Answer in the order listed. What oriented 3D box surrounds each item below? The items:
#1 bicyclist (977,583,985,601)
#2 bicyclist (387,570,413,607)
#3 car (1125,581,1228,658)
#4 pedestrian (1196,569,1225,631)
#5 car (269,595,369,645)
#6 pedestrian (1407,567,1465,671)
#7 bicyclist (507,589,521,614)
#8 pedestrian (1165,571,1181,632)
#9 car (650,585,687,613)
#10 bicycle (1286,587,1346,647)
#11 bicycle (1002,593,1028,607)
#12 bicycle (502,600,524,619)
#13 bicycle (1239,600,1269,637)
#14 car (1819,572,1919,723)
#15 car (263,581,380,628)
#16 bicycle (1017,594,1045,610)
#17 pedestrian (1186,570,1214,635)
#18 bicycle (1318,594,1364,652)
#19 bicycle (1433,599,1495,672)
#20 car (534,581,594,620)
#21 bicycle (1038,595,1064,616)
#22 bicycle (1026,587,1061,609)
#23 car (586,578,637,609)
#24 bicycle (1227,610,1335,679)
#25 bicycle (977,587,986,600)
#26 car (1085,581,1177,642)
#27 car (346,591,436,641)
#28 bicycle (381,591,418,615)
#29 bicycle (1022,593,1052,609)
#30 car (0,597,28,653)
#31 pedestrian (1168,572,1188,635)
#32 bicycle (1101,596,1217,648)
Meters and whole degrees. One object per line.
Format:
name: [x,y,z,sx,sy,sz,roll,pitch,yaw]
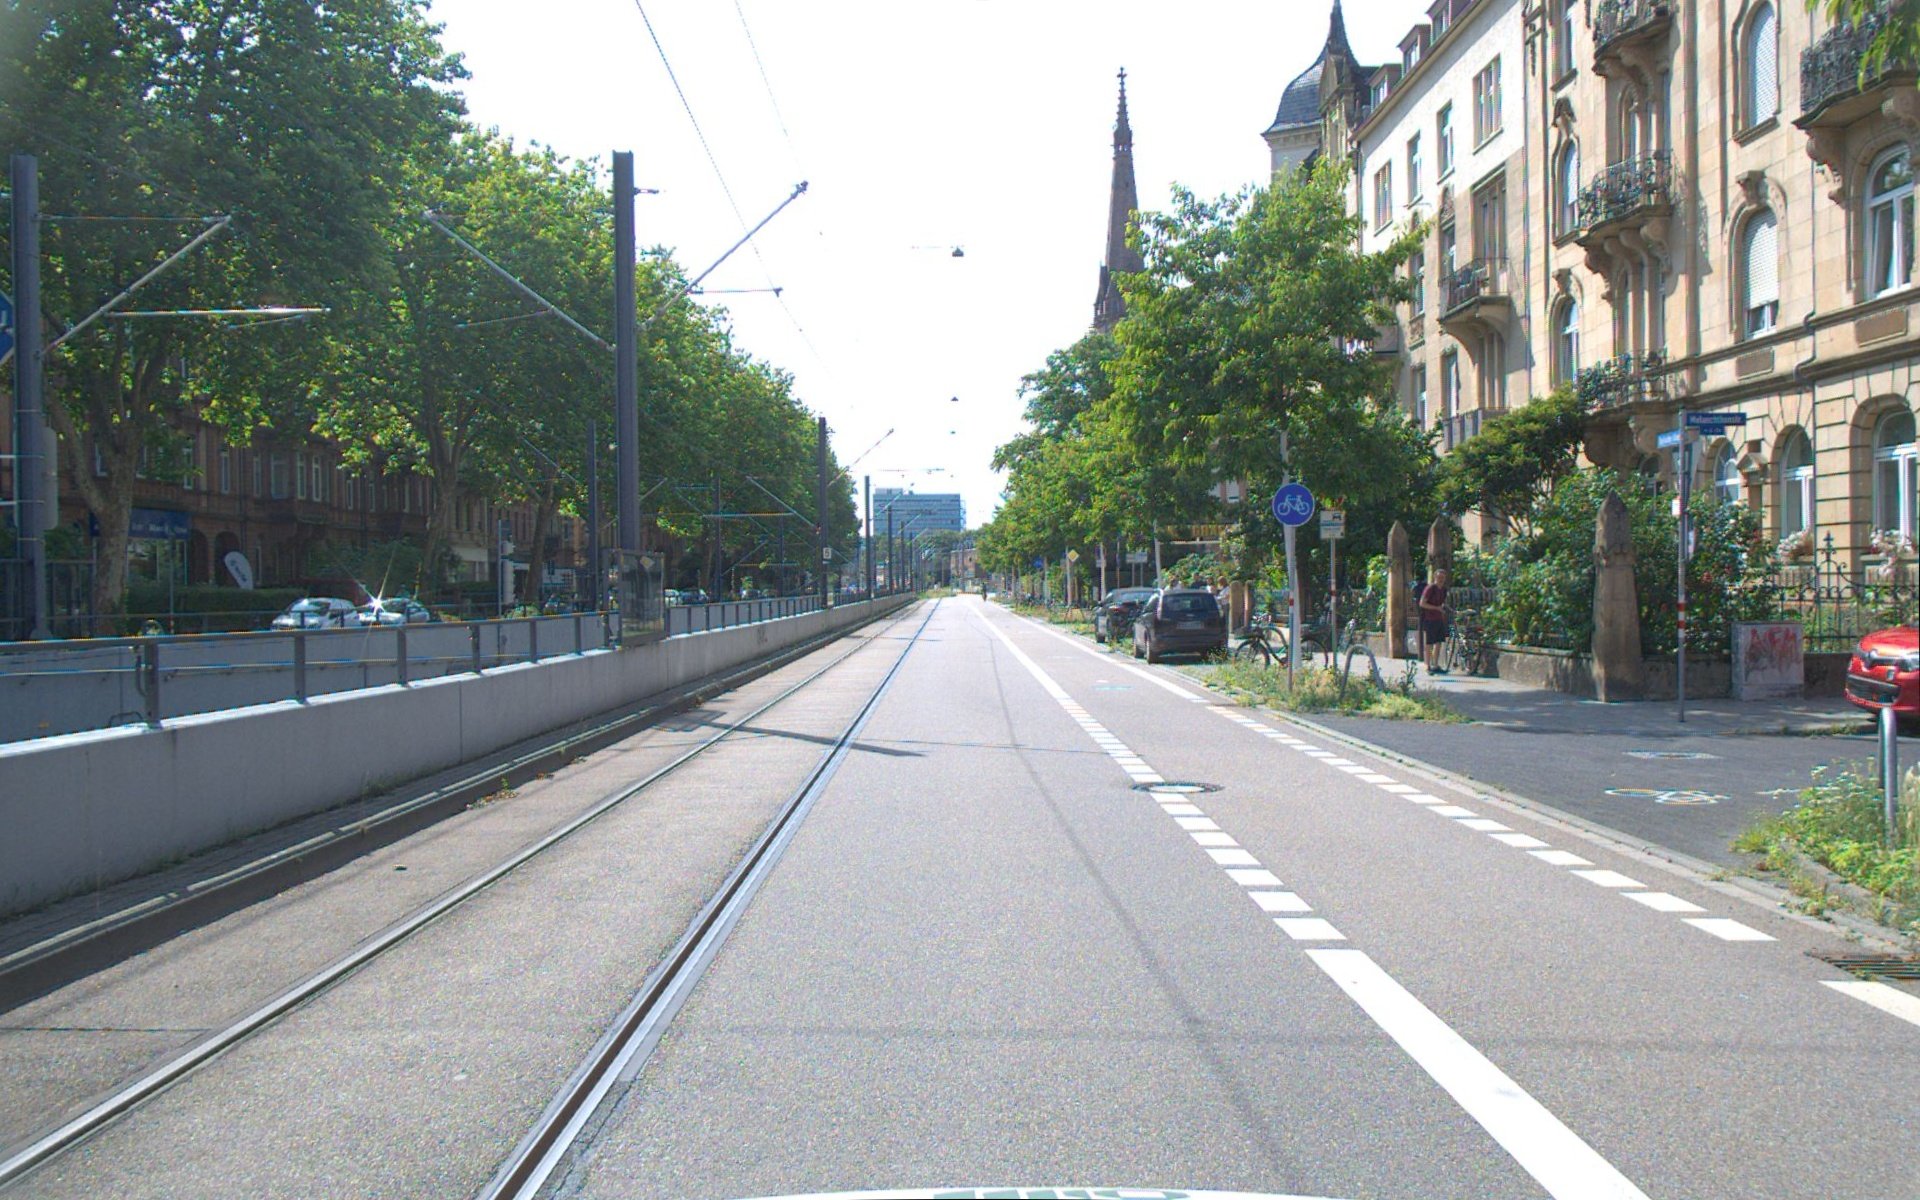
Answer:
bicyclist: [2.042,-0.770,158.760,0.755,1.760,1.026,-1,0,0]
bicyclist: [-22.549,-0.463,66.555,0.674,1.481,1.044,-1,0,0]
car: [4.685,0.375,36.349,1.651,1.528,4.708,-1,1,0]
pedestrian: [7.080,0.003,46.684,0.520,1.705,0.571,-3,1,-19]
car: [-19.191,0.564,49.624,1.466,1.326,3.492,-3,1,2]
pedestrian: [7.741,0.303,26.937,0.708,1.657,0.725,-1,0,0]
bicyclist: [-22.756,0.062,84.340,0.524,1.253,0.723,-1,0,0]
pedestrian: [6.199,0.032,48.102,0.311,1.736,0.461,-3,0,13]
car: [-20.180,-0.068,114.695,1.801,1.758,4.000,-3,1,0]
bicycle: [8.077,0.368,37.635,0.644,1.270,2.943,-4,0,0]
bicycle: [4.024,0.028,121.308,1.780,0.918,0.603,-3,1,-4]
bicycle: [-22.758,0.459,84.291,0.524,0.929,2.149,-1,0,0]
bicycle: [7.958,0.497,44.766,0.419,0.956,1.807,-4,0,0]
car: [11.818,0.448,18.319,3.664,1.583,1.757,-2,0,3]
car: [-27.771,0.188,72.052,4.313,1.952,1.999,-1,0,-2]
bicycle: [4.708,0.124,110.070,1.780,0.918,0.603,-3,1,-4]
pedestrian: [7.013,0.068,48.371,0.656,1.836,0.319,-3,0,-2]
bicycle: [7.996,0.472,34.778,0.419,1.159,2.023,-4,0,0]
bicycle: [8.150,0.558,26.799,0.460,1.127,1.711,-1,0,0]
car: [-19.545,-0.002,81.746,1.682,1.720,3.733,-3,1,6]
bicycle: [4.800,0.290,87.319,0.640,1.057,1.810,-3,1,-21]
bicycle: [4.665,-0.112,92.490,1.784,1.165,0.650,-3,1,-12]
car: [-20.302,-0.416,96.503,1.952,1.665,4.001,-3,1,2]
bicycle: [5.289,0.721,27.270,1.673,1.088,0.470,-1,0,-6]
bicycle: [2.050,-0.644,158.735,0.782,1.258,2.778,-1,0,0]
car: [4.739,0.284,46.368,1.763,1.553,4.486,-3,1,-4]
car: [-19.243,0.514,56.105,1.610,1.508,4.001,-3,1,-1]
bicycle: [-22.541,0.128,66.528,0.657,0.929,2.368,-1,0,0]
bicycle: [4.902,0.040,105.135,1.780,0.918,0.651,-3,1,-4]
car: [-27.845,0.702,44.928,3.904,1.509,2.001,-1,0,2]
pedestrian: [6.446,0.095,48.951,0.450,1.836,0.319,-3,0,-2]
bicycle: [5.161,0.563,42.854,2.896,1.268,0.790,-1,0,-13]
